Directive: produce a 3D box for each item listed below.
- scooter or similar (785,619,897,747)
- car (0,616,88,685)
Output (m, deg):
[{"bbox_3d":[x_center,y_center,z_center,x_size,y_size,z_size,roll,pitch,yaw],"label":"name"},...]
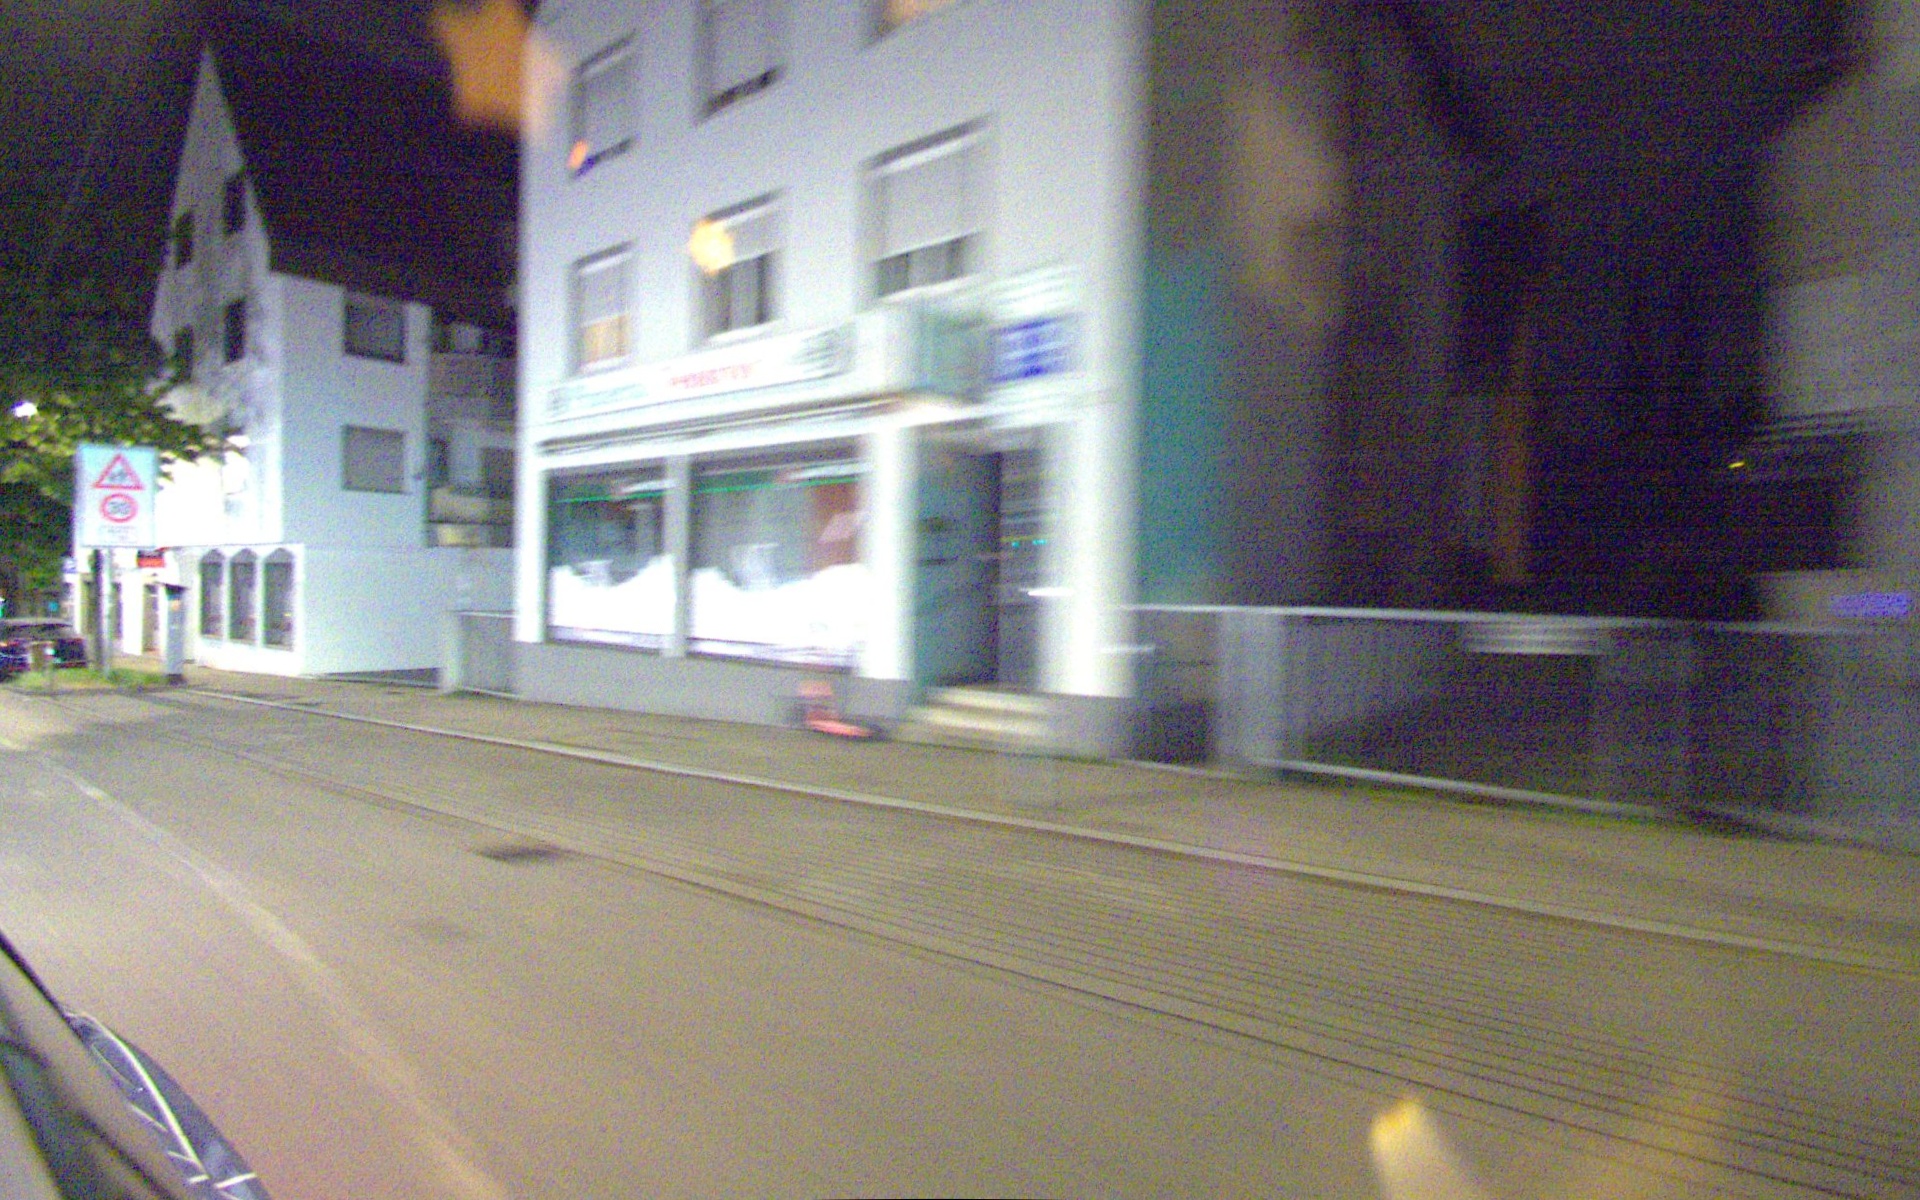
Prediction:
[{"bbox_3d":[-1.250,0.829,10.504,1.334,1.235,0.328,0,1,41],"label":"scooter or similar"},{"bbox_3d":[-22.852,1.178,24.603,4.286,1.497,1.710,-1,0,38],"label":"car"}]
